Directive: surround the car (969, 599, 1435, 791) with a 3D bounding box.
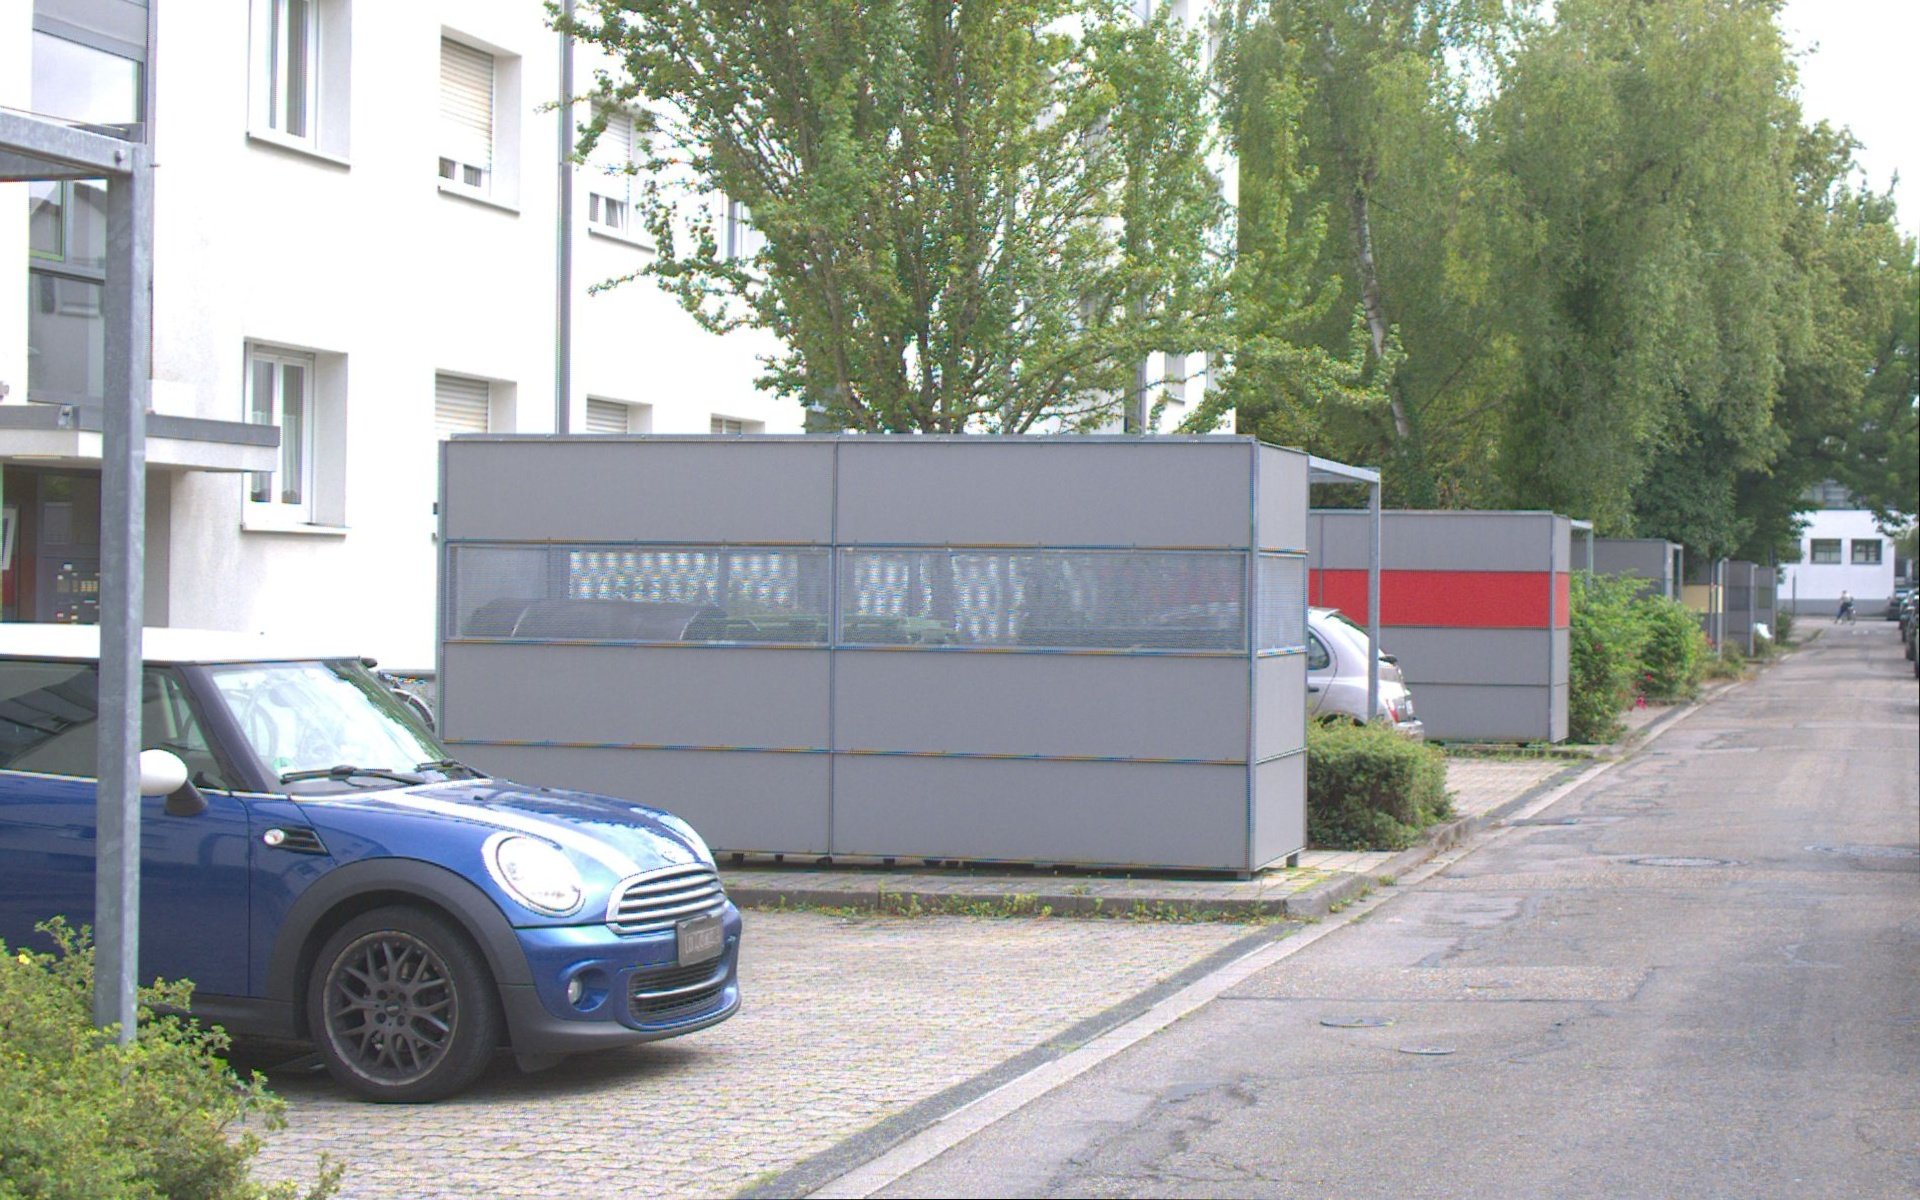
[{"bbox_3d":[1.986,0.743,27.738,3.563,1.475,1.710,0,0,11],"label":"car"}]

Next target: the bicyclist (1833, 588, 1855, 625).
[{"bbox_3d":[37.474,0.283,145.693,0.799,1.506,0.933,3,1,17],"label":"bicyclist"}]

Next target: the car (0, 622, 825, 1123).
[{"bbox_3d":[-2.445,0.810,11.512,3.638,1.456,1.651,0,0,19],"label":"car"}]

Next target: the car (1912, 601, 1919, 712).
[{"bbox_3d":[13.509,0.756,45.199,1.826,1.365,4.327,3,1,16],"label":"car"}]

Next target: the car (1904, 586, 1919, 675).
[{"bbox_3d":[18.414,0.577,63.252,1.826,1.576,3.997,3,1,14],"label":"car"}]

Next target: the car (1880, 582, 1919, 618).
[{"bbox_3d":[43.270,-0.010,158.003,1.826,1.576,3.997,3,1,16],"label":"car"}]

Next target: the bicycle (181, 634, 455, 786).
[{"bbox_3d":[-4.474,0.762,24.004,1.804,1.021,0.479,1,0,-25],"label":"bicycle"}]

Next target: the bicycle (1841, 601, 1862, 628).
[{"bbox_3d":[37.775,0.609,145.595,0.689,1.127,2.577,3,1,17],"label":"bicycle"}]
